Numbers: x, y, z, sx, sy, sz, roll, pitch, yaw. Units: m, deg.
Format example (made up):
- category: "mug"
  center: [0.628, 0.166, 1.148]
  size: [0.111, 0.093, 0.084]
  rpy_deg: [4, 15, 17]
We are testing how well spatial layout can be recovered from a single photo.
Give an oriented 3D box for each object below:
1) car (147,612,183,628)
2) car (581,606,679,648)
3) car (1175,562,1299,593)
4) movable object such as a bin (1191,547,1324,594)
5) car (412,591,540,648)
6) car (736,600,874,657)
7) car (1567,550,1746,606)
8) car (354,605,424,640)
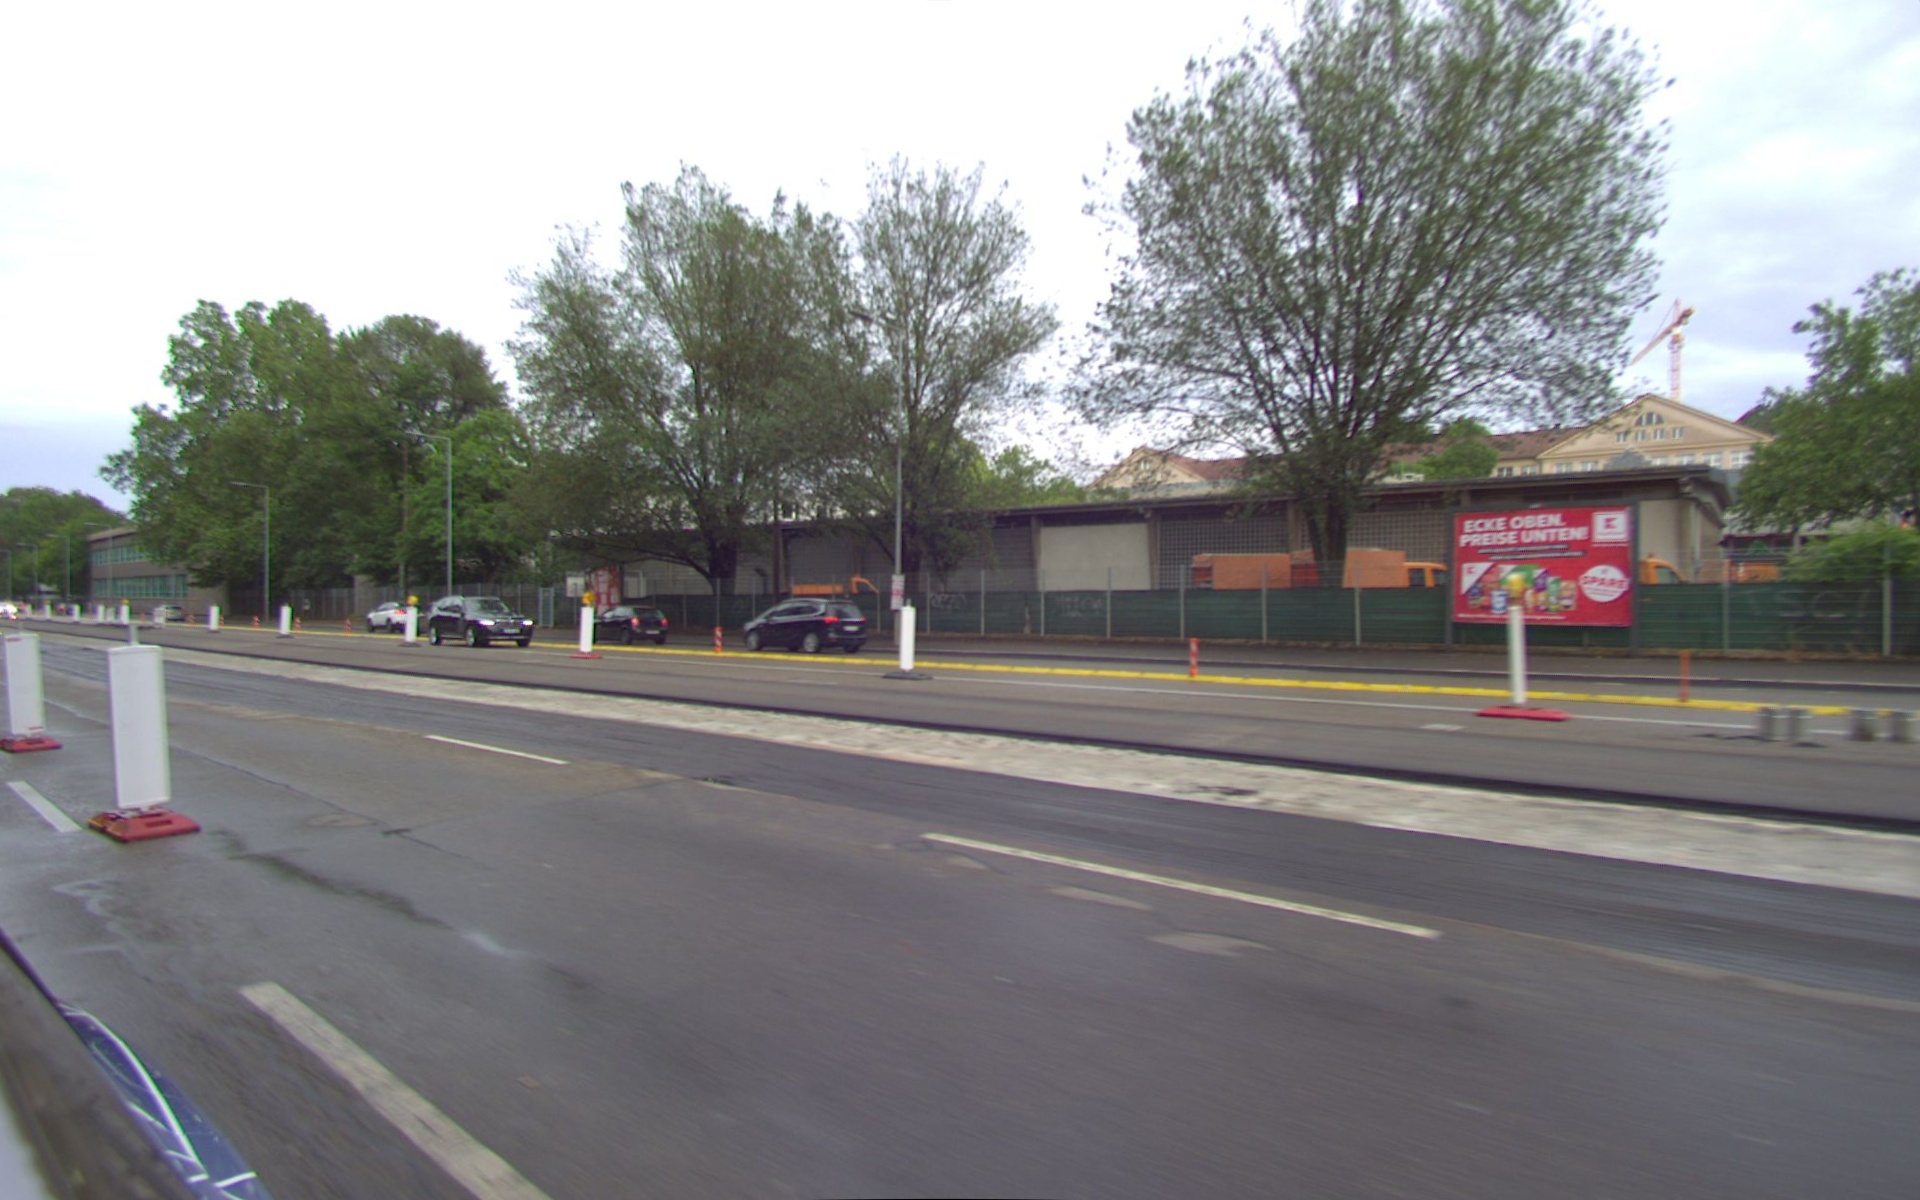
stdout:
- category: "car"
  center: [-68.292, 1.715, 86.928]
  size: [4.453, 1.325, 1.649]
  rpy_deg: [-1, -3, 42]
- category: "car"
  center: [-12.471, 1.011, 38.140]
  size: [3.730, 1.487, 1.839]
  rpy_deg: [-1, -3, 41]
- category: "car"
  center: [10.037, -0.809, 36.800]
  size: [3.961, 1.070, 1.756]
  rpy_deg: [0, 0, -6]
- category: "movable object such as a bin"
  center: [10.156, -0.985, 34.708]
  size: [3.961, 1.539, 1.756]
  rpy_deg: [0, 0, -6]
- category: "car"
  center: [-15.981, 0.689, 33.295]
  size: [4.982, 1.719, 1.972]
  rpy_deg: [-2, -4, 42]
- category: "car"
  center: [-4.828, 0.871, 31.251]
  size: [4.327, 1.642, 1.839]
  rpy_deg: [-1, -3, 41]
- category: "car"
  center: [19.887, -0.609, 28.979]
  size: [3.957, 1.539, 2.005]
  rpy_deg: [0, 0, -11]
- category: "car"
  center: [-30.006, 1.170, 53.141]
  size: [4.363, 1.719, 1.839]
  rpy_deg: [-1, -3, 41]
